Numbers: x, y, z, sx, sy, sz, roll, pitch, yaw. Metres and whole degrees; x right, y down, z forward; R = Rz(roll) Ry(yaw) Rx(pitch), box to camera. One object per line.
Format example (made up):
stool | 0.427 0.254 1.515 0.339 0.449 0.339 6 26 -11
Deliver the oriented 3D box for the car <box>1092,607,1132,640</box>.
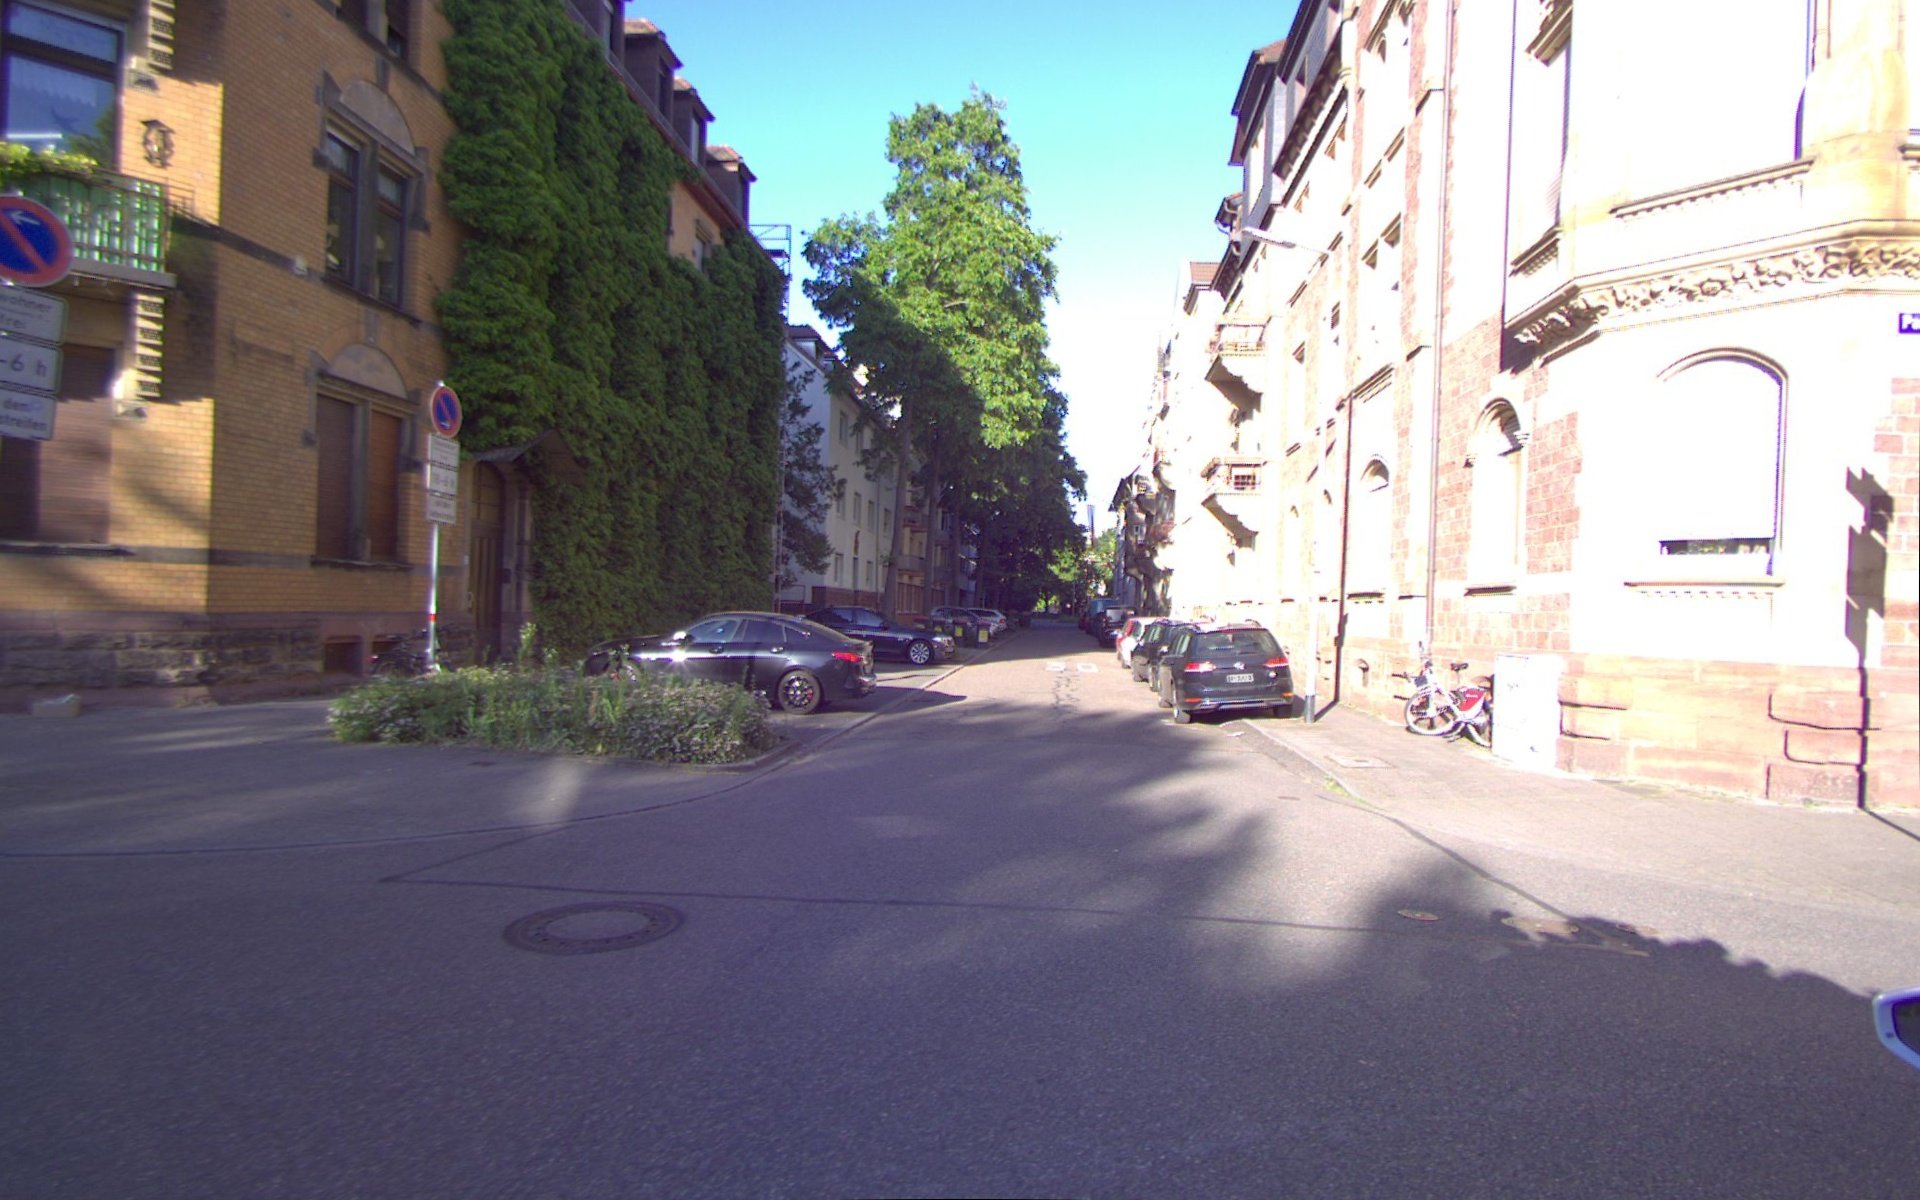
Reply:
car | 7.949 1.186 52.771 1.772 1.534 4.002 4 0 6

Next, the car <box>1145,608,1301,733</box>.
car | 4.027 0.991 16.008 1.708 1.602 4.002 4 0 6

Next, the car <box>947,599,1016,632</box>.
car | 1.255 0.840 56.797 3.737 1.596 1.711 4 0 4

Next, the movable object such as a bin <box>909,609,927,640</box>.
movable object such as a bin | -1.629 0.953 38.873 0.623 1.141 0.486 4 0 0

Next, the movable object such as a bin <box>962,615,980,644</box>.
movable object such as a bin | 0.426 1.145 38.865 0.619 1.067 0.568 4 0 0

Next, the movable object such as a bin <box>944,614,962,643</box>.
movable object such as a bin | -0.269 1.095 38.839 0.619 1.067 0.568 4 0 0

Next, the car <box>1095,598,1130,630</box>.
car | 9.036 0.812 59.684 1.772 1.701 4.002 4 0 6

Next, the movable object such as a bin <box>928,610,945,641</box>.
movable object such as a bin | -0.912 0.986 38.899 0.588 1.168 0.486 4 0 0

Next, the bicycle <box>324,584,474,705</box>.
bicycle | -6.467 0.483 11.669 0.553 1.285 1.603 2 0 13

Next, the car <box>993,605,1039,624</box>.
car | 4.644 1.206 83.010 3.737 1.256 1.711 4 0 4

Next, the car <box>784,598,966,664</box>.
car | -2.291 0.823 27.836 4.754 1.454 1.711 4 0 4

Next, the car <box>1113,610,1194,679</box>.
car | 5.212 1.150 27.493 1.708 1.602 4.002 4 0 6

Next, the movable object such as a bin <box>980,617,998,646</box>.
movable object such as a bin | 1.114 1.228 38.822 0.619 1.067 0.568 4 0 0

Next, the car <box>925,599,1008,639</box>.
car | 0.320 0.868 47.085 3.738 1.596 1.710 4 0 2

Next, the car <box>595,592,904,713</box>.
car | -3.111 0.744 15.431 4.172 1.454 2.001 4 0 4

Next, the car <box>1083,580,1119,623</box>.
car | 9.725 0.114 69.793 2.129 2.726 4.793 4 0 6

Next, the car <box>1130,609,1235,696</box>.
car | 4.789 1.061 22.086 1.708 1.602 4.002 4 0 6

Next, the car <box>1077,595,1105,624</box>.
car | 11.296 0.791 86.806 2.129 2.266 4.793 4 0 6

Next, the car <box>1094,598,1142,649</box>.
car | 6.959 0.993 44.655 1.772 2.030 4.002 4 0 6

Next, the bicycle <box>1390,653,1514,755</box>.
bicycle | 5.799 1.197 11.933 0.506 1.011 1.574 4 0 -6

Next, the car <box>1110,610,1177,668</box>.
car | 5.778 1.191 31.992 1.708 1.602 4.002 4 0 6
